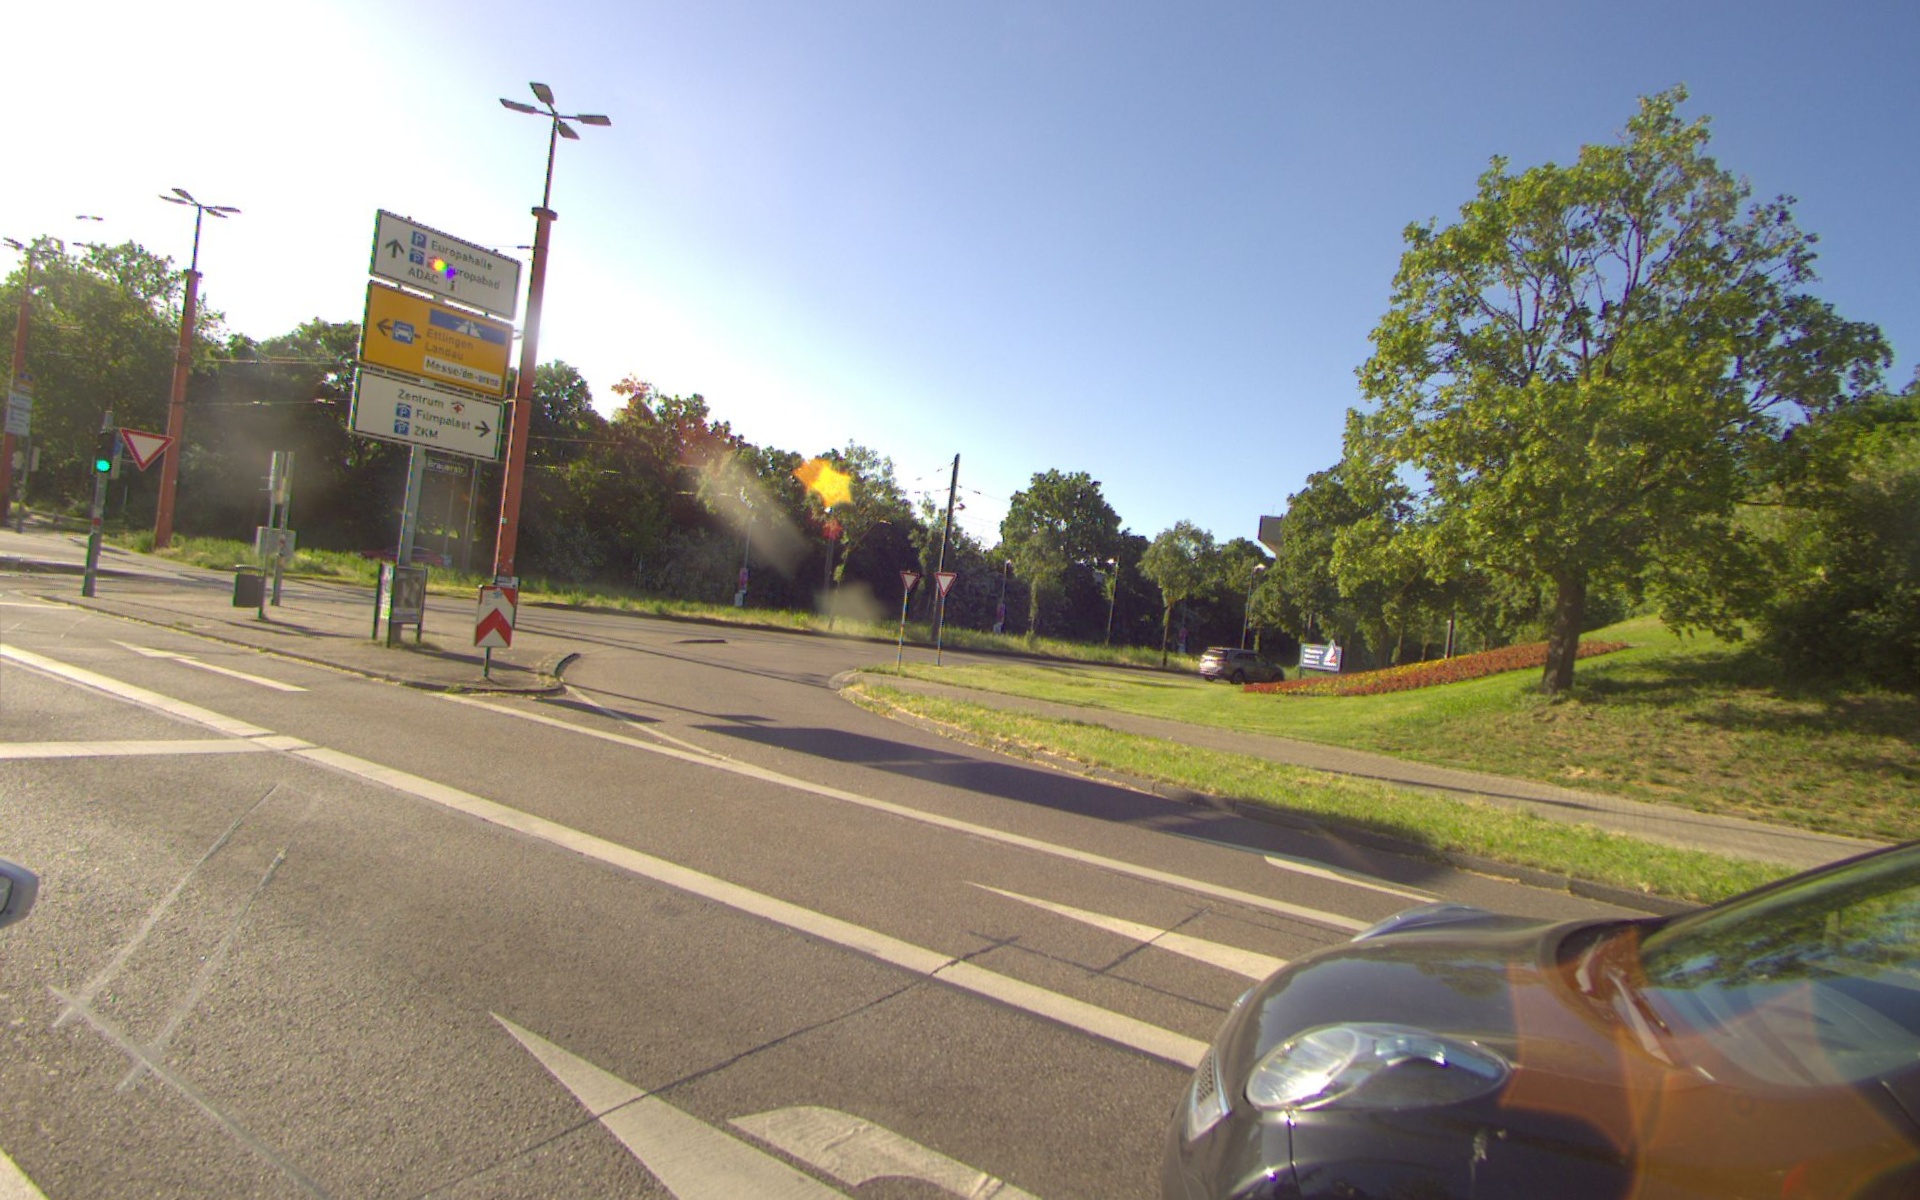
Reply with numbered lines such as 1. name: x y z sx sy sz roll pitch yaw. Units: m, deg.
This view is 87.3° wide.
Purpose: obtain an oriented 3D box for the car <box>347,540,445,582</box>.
1. car: -29.168 -2.022 52.064 4.247 1.513 1.983 8 -1 -33

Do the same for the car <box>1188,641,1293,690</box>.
1. car: 13.295 3.091 47.609 4.642 1.724 1.985 8 -1 -30

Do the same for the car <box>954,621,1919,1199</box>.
1. car: 2.395 1.093 1.401 4.544 1.500 1.738 7 -1 30
